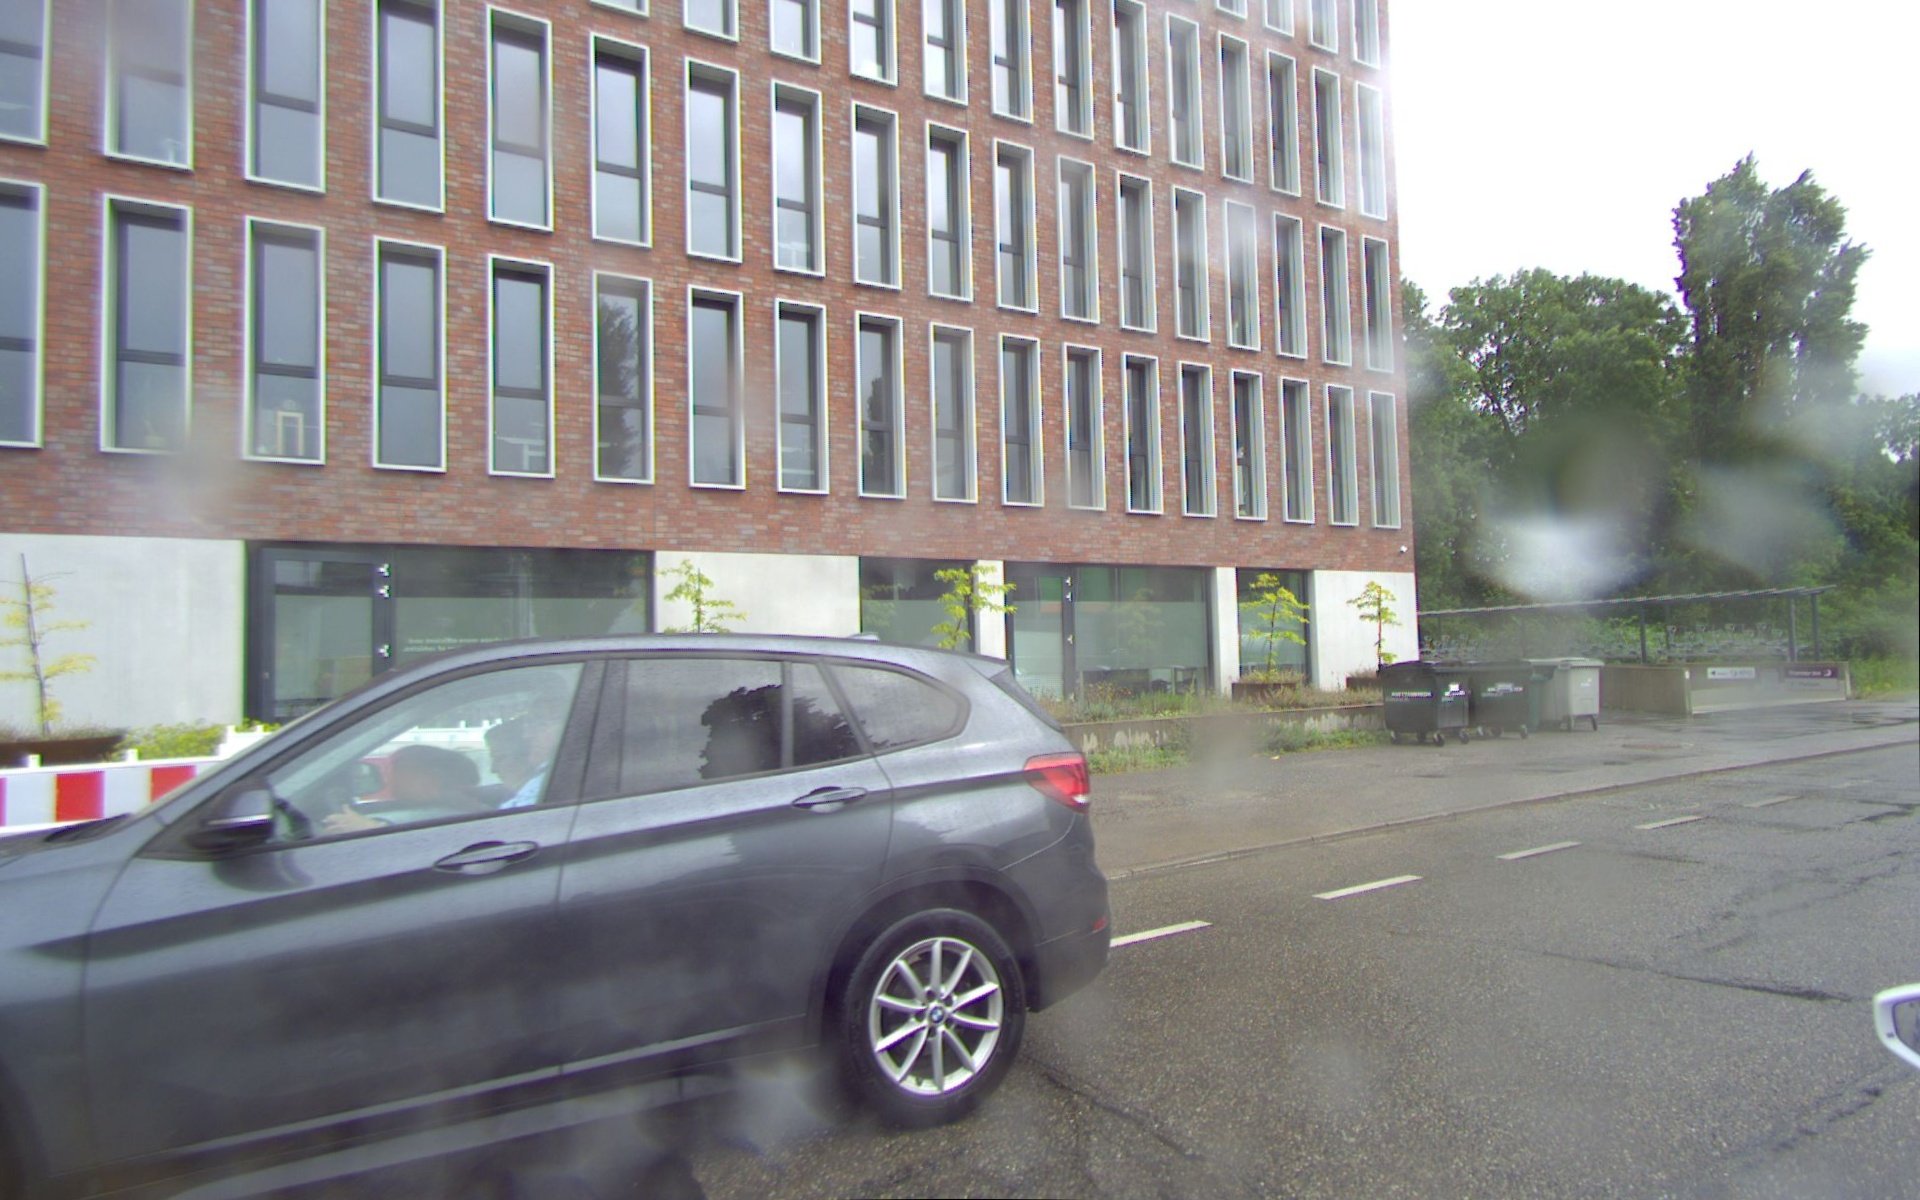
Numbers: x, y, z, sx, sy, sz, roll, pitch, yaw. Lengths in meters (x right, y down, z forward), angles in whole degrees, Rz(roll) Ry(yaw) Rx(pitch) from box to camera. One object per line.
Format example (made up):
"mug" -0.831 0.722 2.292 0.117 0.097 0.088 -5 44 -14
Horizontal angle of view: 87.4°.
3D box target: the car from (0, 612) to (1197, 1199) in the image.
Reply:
"car" -1.383 0.908 3.447 4.098 1.588 1.753 0 -5 -28

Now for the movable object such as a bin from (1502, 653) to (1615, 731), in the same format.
"movable object such as a bin" 11.132 1.689 18.708 1.343 1.349 1.289 1 -4 -32

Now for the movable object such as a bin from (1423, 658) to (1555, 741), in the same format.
"movable object such as a bin" 9.067 1.686 17.299 1.422 1.325 1.377 -1 -3 -9

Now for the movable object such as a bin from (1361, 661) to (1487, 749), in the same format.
"movable object such as a bin" 7.540 1.674 16.332 1.435 1.325 1.287 1 -4 -37
